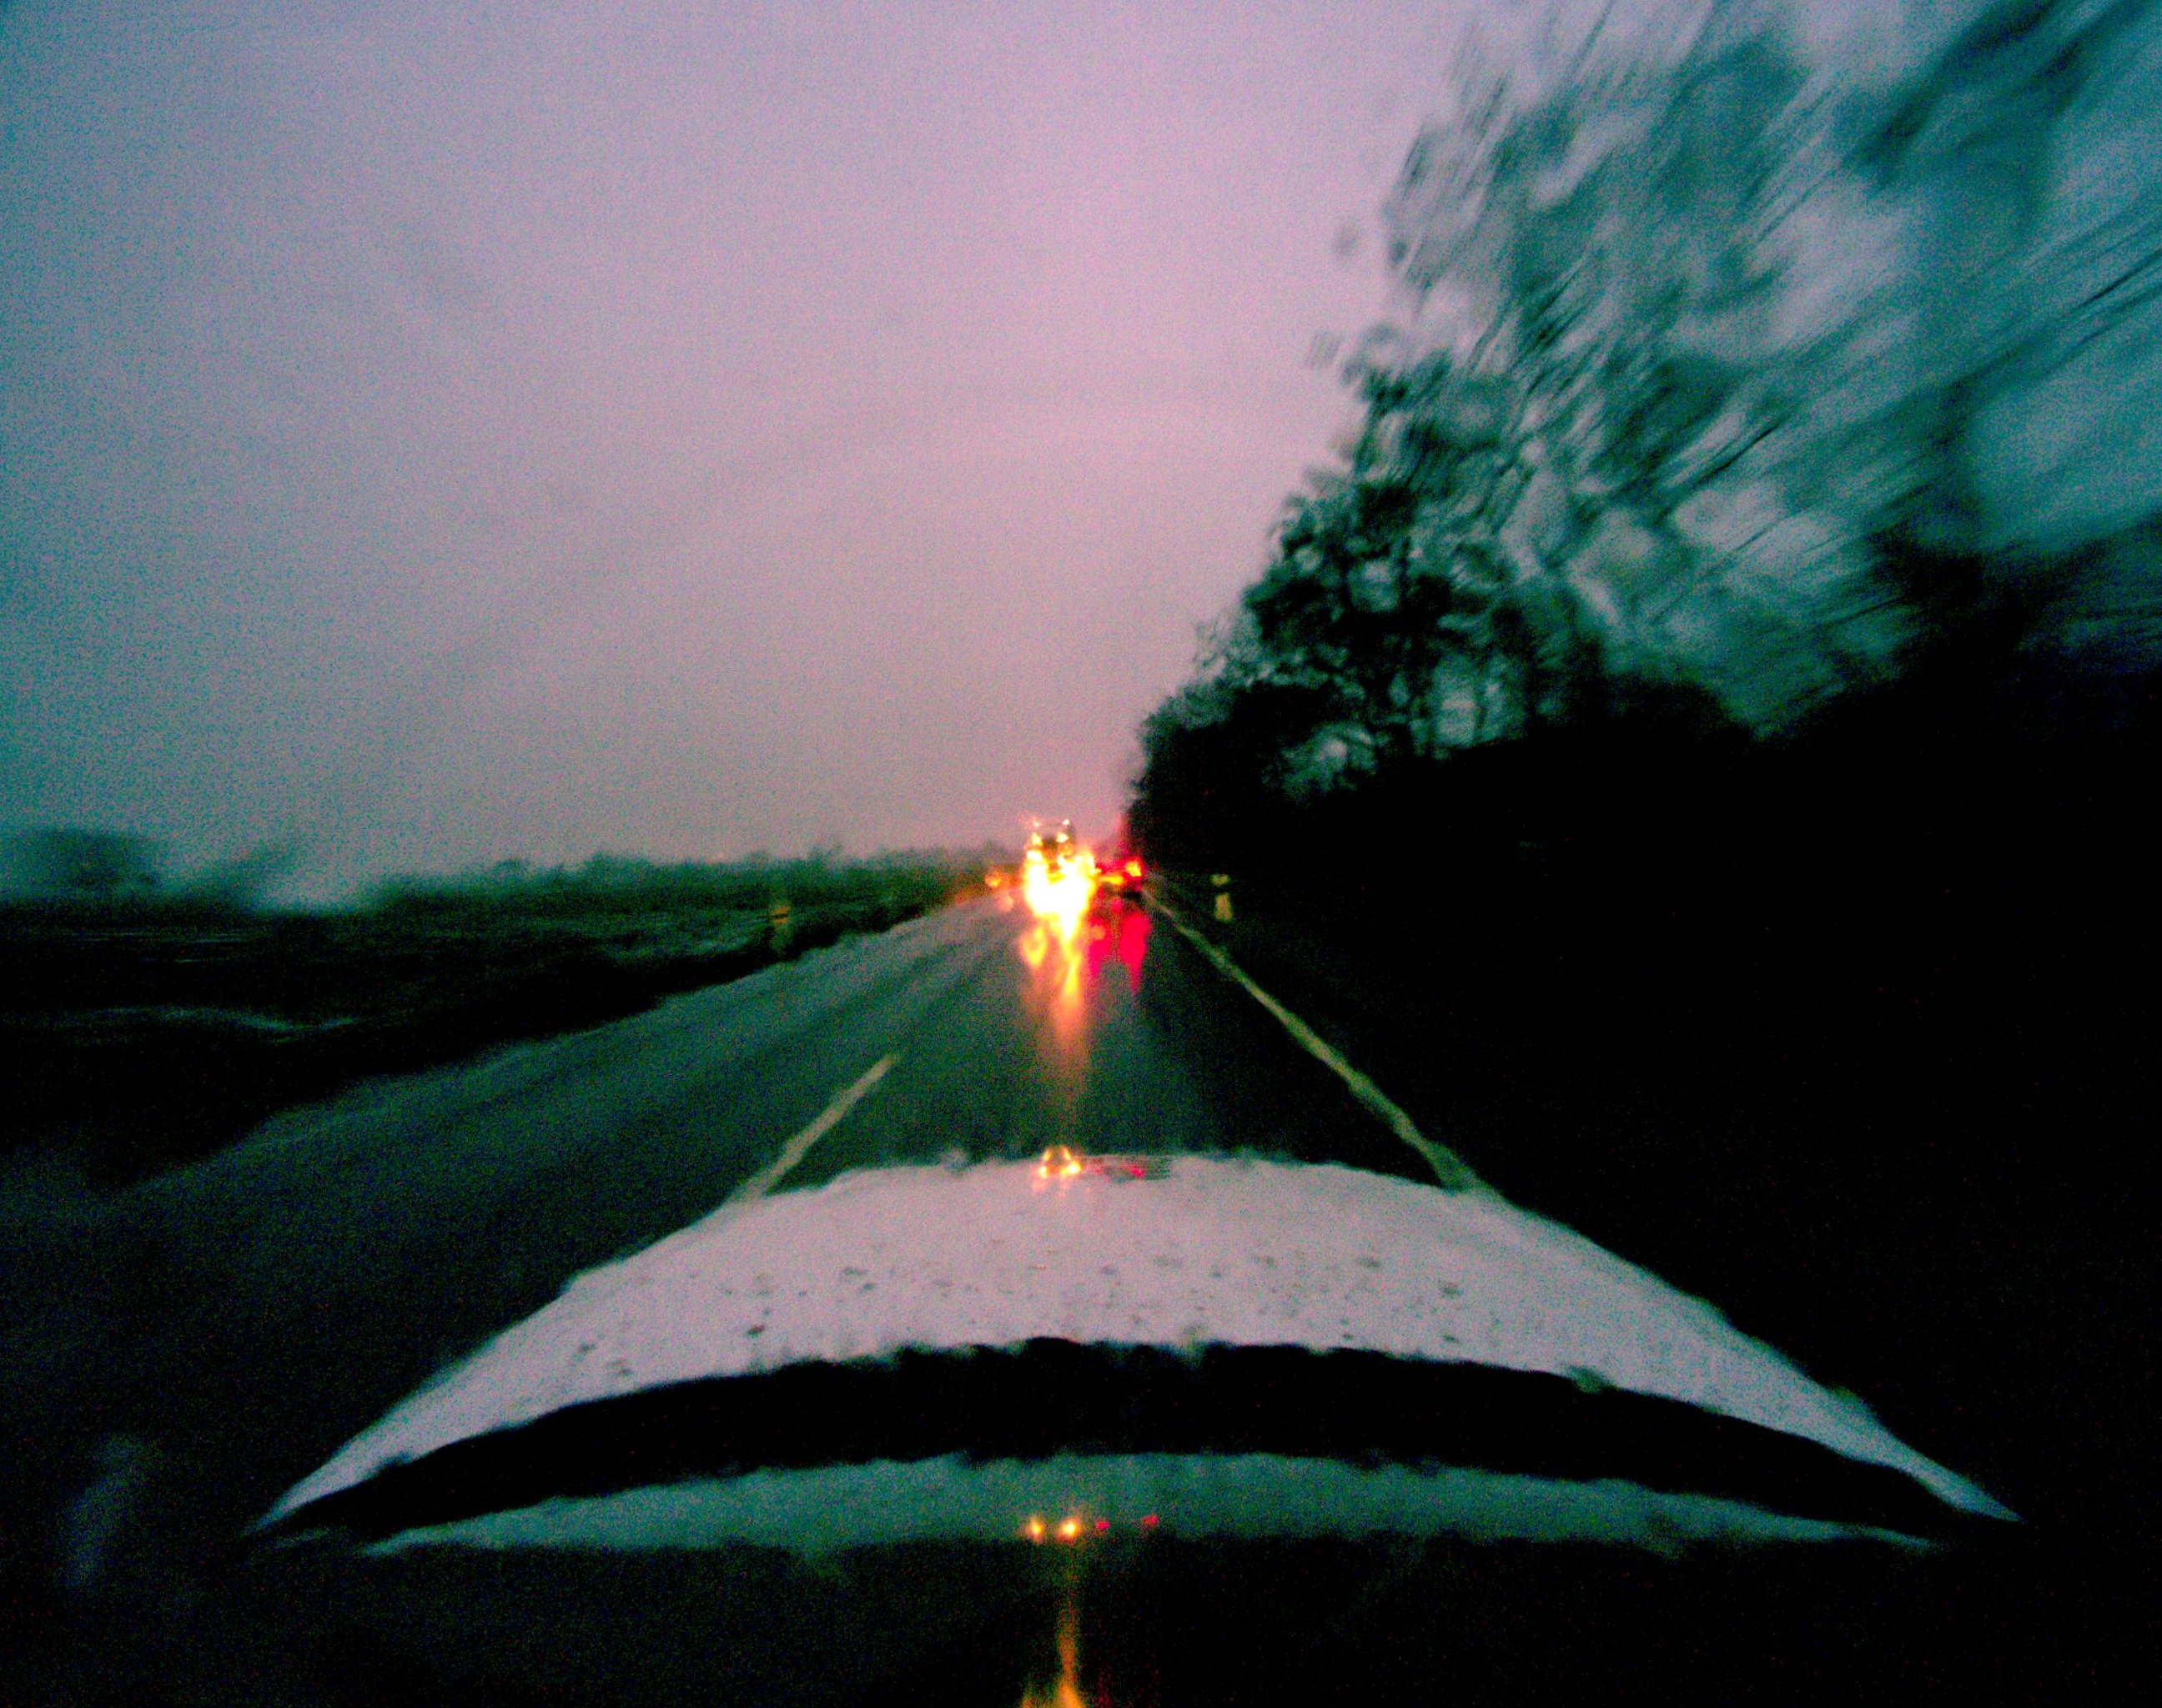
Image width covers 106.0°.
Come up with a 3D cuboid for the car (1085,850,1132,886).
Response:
[{"bbox_3d":[1.655,0.813,48.545,2.582,2.014,5.807,-1,0,2],"label":"car"}]

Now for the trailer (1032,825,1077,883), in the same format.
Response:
[{"bbox_3d":[-1.937,-0.014,64.699,2.692,4.080,12.384,-3,0,1],"label":"trailer"}]

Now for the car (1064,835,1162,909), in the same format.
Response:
[{"bbox_3d":[1.041,0.544,26.363,2.809,2.077,5.807,-1,0,2],"label":"car"}]

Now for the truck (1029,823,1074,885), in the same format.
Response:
[{"bbox_3d":[-2.045,0.017,58.903,2.715,4.105,6.589,-3,0,1],"label":"truck"}]
